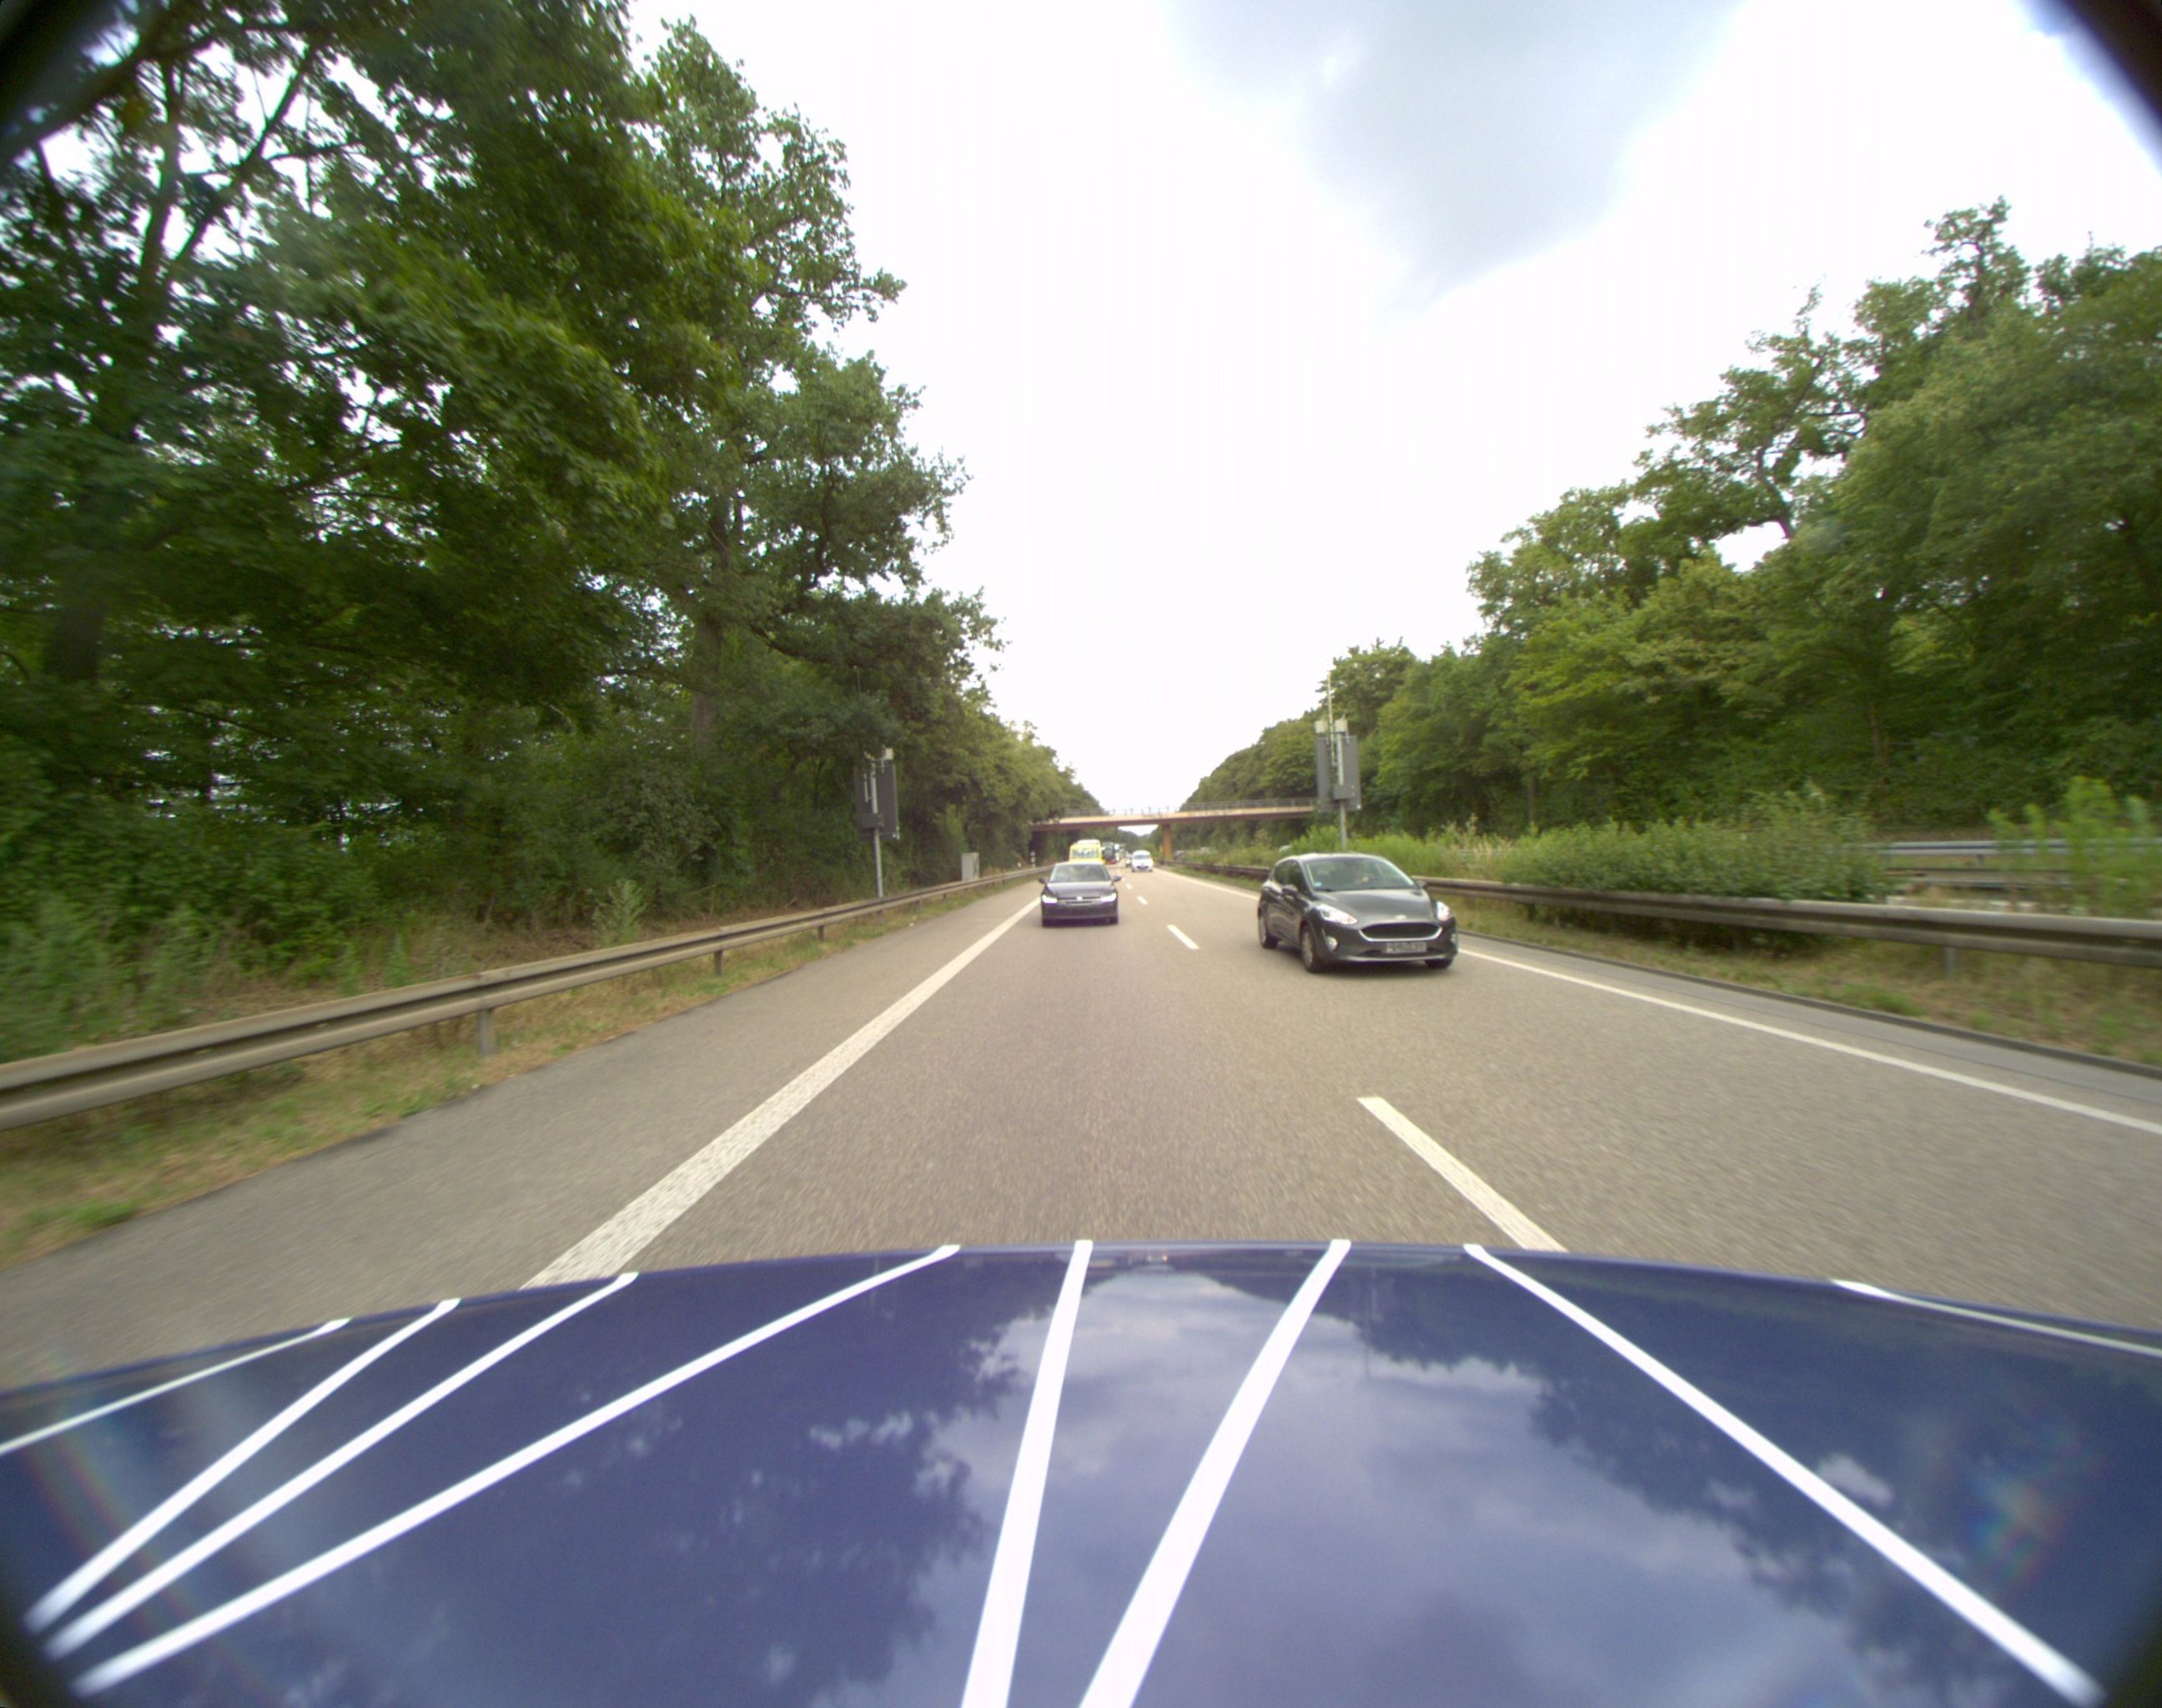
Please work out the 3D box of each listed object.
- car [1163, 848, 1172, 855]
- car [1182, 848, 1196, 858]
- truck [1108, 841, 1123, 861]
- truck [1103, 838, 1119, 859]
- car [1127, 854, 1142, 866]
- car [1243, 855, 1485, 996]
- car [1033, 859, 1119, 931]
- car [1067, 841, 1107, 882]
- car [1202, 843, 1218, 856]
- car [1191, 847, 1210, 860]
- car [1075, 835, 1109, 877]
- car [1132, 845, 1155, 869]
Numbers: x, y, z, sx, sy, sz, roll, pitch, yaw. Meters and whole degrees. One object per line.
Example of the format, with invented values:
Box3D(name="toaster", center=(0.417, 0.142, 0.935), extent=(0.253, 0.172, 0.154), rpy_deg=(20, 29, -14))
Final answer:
Box3D(name="car", center=(20.697, -0.595, 182.116), extent=(1.693, 1.372, 4.937), rpy_deg=(-2, 1, 3))
Box3D(name="car", center=(17.804, -0.125, 125.926), extent=(1.807, 1.581, 4.181), rpy_deg=(-2, 1, 2))
Box3D(name="truck", center=(8.121, -0.859, 179.785), extent=(3.099, 4.462, 12.209), rpy_deg=(-2, 1, 2))
Box3D(name="truck", center=(5.397, -0.980, 136.782), extent=(2.548, 3.564, 6.457), rpy_deg=(-2, 1, 2))
Box3D(name="car", center=(7.042, 0.737, 99.857), extent=(1.772, 1.416, 4.198), rpy_deg=(-2, 1, 2))
Box3D(name="car", center=(3.612, 0.796, 10.694), extent=(1.830, 1.449, 4.640), rpy_deg=(-2, 1, 3))
Box3D(name="car", center=(-0.031, 0.895, 18.495), extent=(1.800, 1.398, 4.639), rpy_deg=(-2, 1, 2))
Box3D(name="car", center=(0.369, 0.394, 47.423), extent=(2.248, 2.334, 5.223), rpy_deg=(-2, 1, 0))
Box3D(name="car", center=(20.822, -0.784, 122.718), extent=(1.800, 2.002, 5.302), rpy_deg=(-2, 1, 2))
Box3D(name="car", center=(15.640, -0.118, 99.692), extent=(1.998, 1.601, 4.000), rpy_deg=(-2, 1, 2))
Box3D(name="car", center=(0.748, 0.108, 54.434), extent=(2.207, 2.732, 6.166), rpy_deg=(-2, 1, 0))
Box3D(name="car", center=(5.577, 0.236, 68.082), extent=(1.821, 1.993, 4.423), rpy_deg=(-2, 1, 2))
